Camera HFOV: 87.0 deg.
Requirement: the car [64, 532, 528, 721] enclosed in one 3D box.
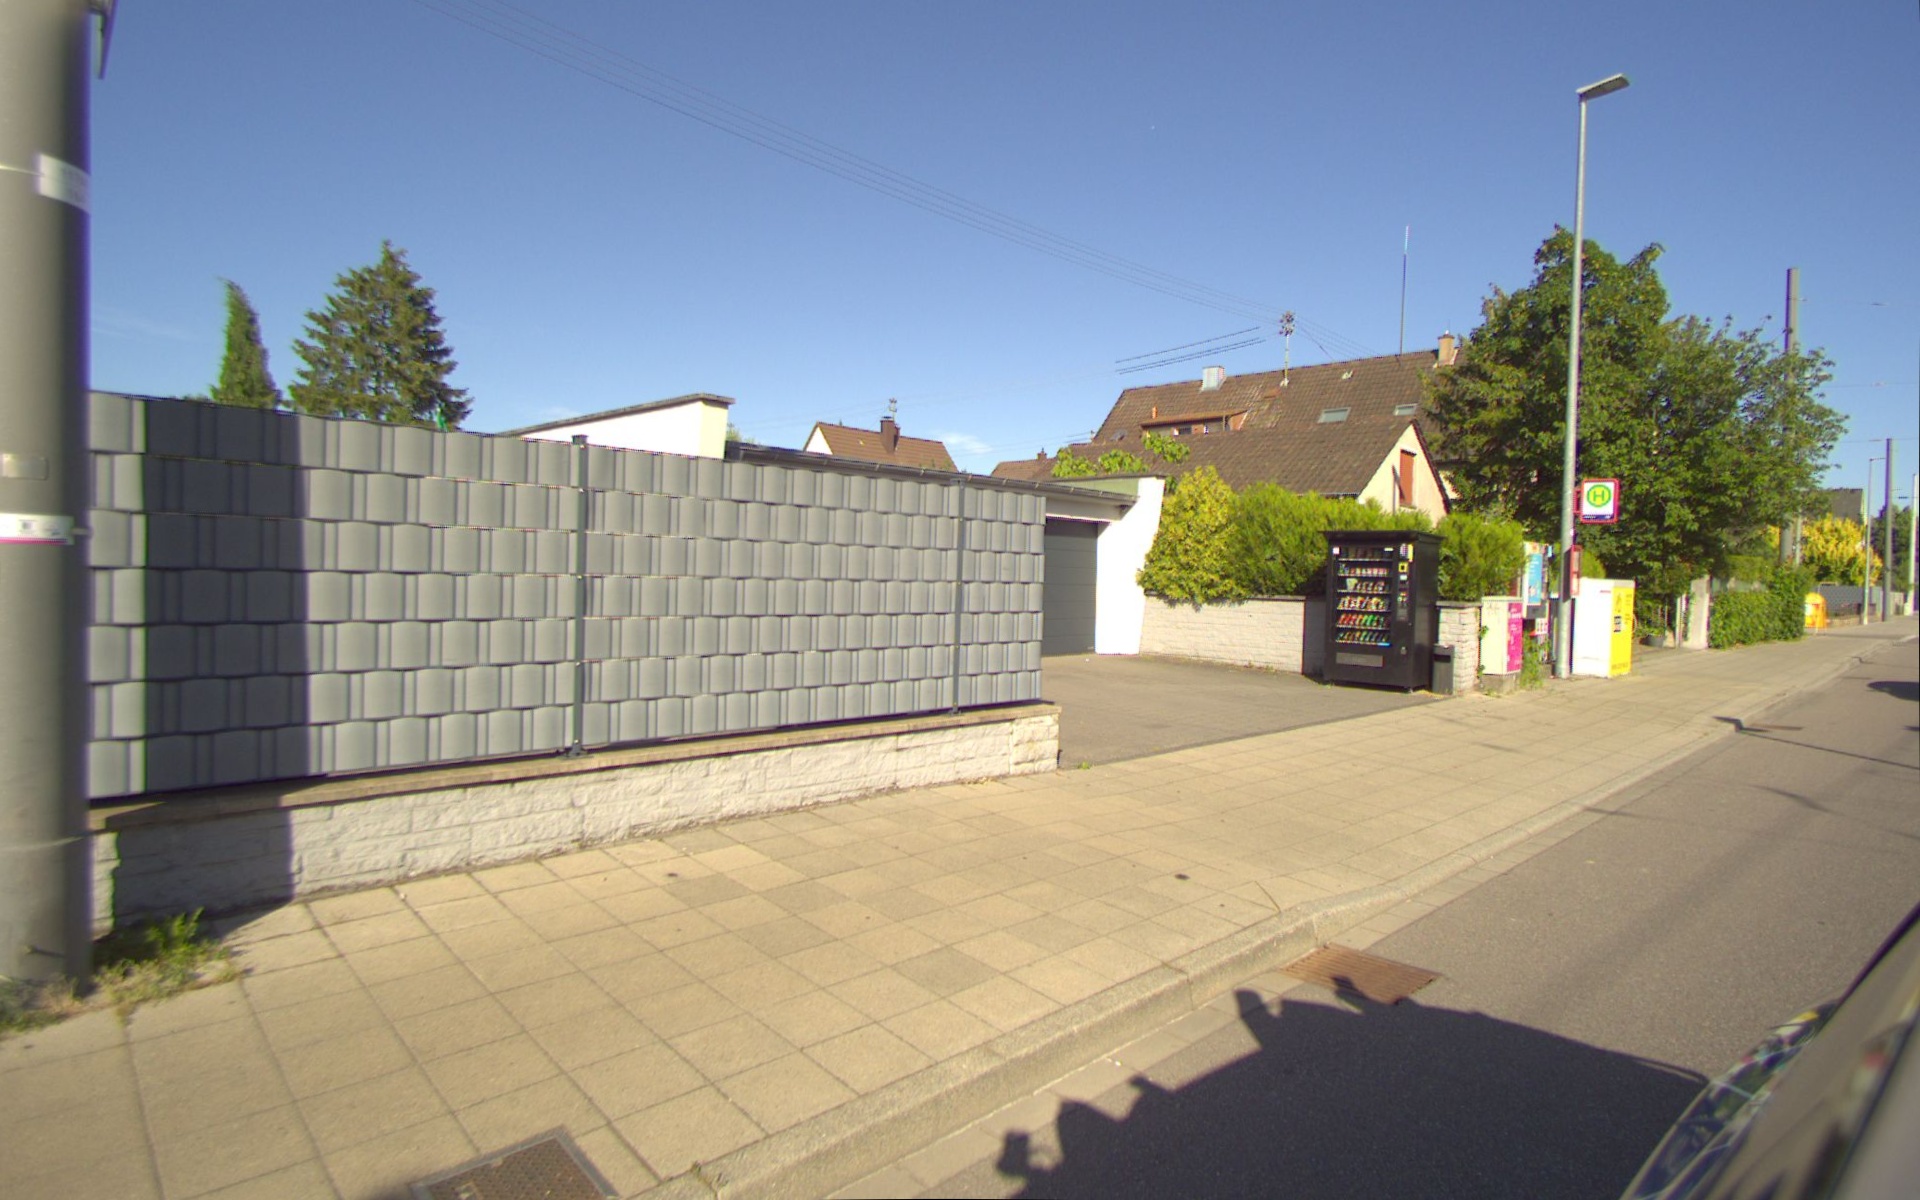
[{"bbox_3d":[-6.217,0.151,9.776,1.553,1.479,3.441,1,2,39],"label":"car"}]
